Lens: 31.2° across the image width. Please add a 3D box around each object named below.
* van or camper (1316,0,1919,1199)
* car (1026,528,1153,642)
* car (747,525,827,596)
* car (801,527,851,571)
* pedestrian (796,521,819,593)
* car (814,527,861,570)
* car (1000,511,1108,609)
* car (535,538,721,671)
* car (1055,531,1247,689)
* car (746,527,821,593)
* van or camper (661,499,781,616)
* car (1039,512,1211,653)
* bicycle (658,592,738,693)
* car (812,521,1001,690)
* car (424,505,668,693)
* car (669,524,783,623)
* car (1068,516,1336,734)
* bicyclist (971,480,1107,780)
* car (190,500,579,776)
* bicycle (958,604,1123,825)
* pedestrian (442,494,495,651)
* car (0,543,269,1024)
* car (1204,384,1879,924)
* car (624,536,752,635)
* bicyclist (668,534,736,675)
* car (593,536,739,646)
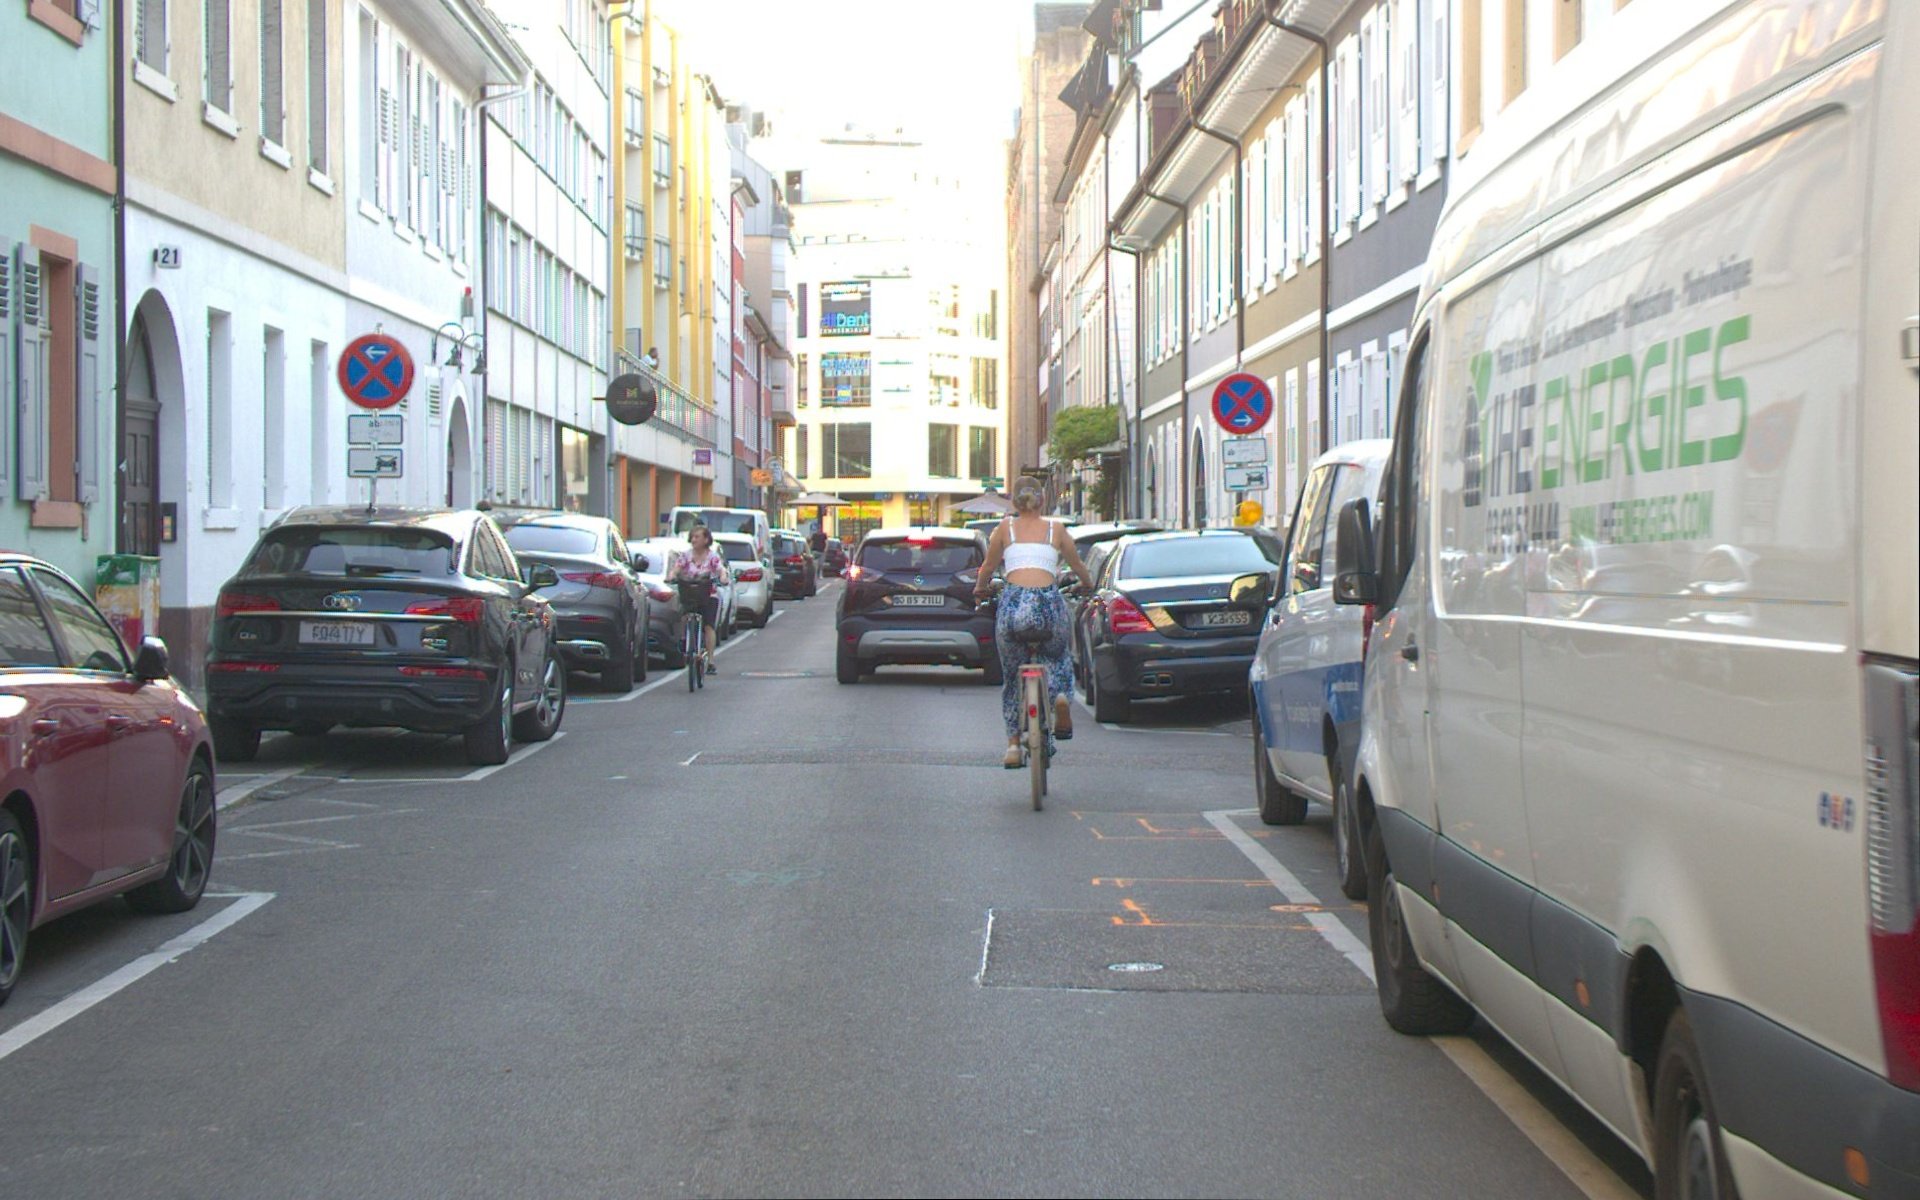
[{"bbox_3d":[2.142,-0.015,7.395,2.050,2.628,7.063,0,1,0],"label":"van or camper"},{"bbox_3d":[1.858,-0.245,50.128,1.653,1.555,3.606,1,1,0],"label":"car"},{"bbox_3d":[-3.987,-0.925,79.680,1.653,1.555,3.606,1,1,0],"label":"car"},{"bbox_3d":[-4.871,-1.865,125.046,1.653,1.555,3.606,1,1,0],"label":"car"},{"bbox_3d":[-3.702,-1.047,83.438,0.553,1.746,0.568,1,1,-3],"label":"pedestrian"},{"bbox_3d":[-4.696,-1.985,131.817,1.653,1.555,3.606,1,1,0],"label":"car"},{"bbox_3d":[1.551,-0.684,57.711,1.653,1.555,3.606,1,1,0],"label":"car"},{"bbox_3d":[-3.860,0.014,40.602,1.918,1.429,4.294,1,1,-2],"label":"car"},{"bbox_3d":[1.900,0.058,35.277,1.676,1.481,4.000,1,1,-1],"label":"car"},{"bbox_3d":[-4.347,-1.006,84.984,1.653,1.555,3.606,1,1,0],"label":"car"},{"bbox_3d":[-4.326,-0.796,62.852,1.844,2.006,4.678,1,1,0],"label":"van or camper"},{"bbox_3d":[2.126,-0.261,45.375,1.918,1.732,4.154,1,1,-2],"label":"car"},{"bbox_3d":[-2.558,0.402,33.691,0.613,0.929,1.886,1,1,1],"label":"bicycle"},{"bbox_3d":[-0.564,0.015,35.791,1.819,1.612,4.000,1,1,-1],"label":"car"},{"bbox_3d":[-4.039,-0.054,34.230,1.997,1.701,4.536,1,1,-2],"label":"car"},{"bbox_3d":[-3.861,-0.458,57.156,1.653,1.555,3.606,1,1,0],"label":"car"},{"bbox_3d":[1.887,0.143,28.224,1.819,1.525,5.071,-3,1,1],"label":"car"},{"bbox_3d":[0.417,0.152,18.362,0.620,1.569,0.684,1,1,-7],"label":"bicyclist"},{"bbox_3d":[-3.733,0.187,23.066,1.803,1.671,4.490,0,1,1],"label":"car"},{"bbox_3d":[0.409,0.581,18.274,0.613,1.078,1.810,1,1,-7],"label":"bicycle"},{"bbox_3d":[-6.313,-0.354,44.168,0.610,2.007,0.450,1,1,-3],"label":"pedestrian"},{"bbox_3d":[-3.708,0.508,11.935,1.765,1.397,4.263,1,1,0],"label":"car"},{"bbox_3d":[2.342,0.158,15.371,1.941,1.888,5.318,-3,1,-1],"label":"car"},{"bbox_3d":[-4.099,-0.253,52.178,1.653,1.406,3.606,1,1,0],"label":"car"},{"bbox_3d":[-2.530,0.035,33.714,0.605,1.365,0.621,1,1,0],"label":"bicyclist"},{"bbox_3d":[-3.985,-0.157,47.088,1.653,1.406,3.903,1,1,0],"label":"car"}]
